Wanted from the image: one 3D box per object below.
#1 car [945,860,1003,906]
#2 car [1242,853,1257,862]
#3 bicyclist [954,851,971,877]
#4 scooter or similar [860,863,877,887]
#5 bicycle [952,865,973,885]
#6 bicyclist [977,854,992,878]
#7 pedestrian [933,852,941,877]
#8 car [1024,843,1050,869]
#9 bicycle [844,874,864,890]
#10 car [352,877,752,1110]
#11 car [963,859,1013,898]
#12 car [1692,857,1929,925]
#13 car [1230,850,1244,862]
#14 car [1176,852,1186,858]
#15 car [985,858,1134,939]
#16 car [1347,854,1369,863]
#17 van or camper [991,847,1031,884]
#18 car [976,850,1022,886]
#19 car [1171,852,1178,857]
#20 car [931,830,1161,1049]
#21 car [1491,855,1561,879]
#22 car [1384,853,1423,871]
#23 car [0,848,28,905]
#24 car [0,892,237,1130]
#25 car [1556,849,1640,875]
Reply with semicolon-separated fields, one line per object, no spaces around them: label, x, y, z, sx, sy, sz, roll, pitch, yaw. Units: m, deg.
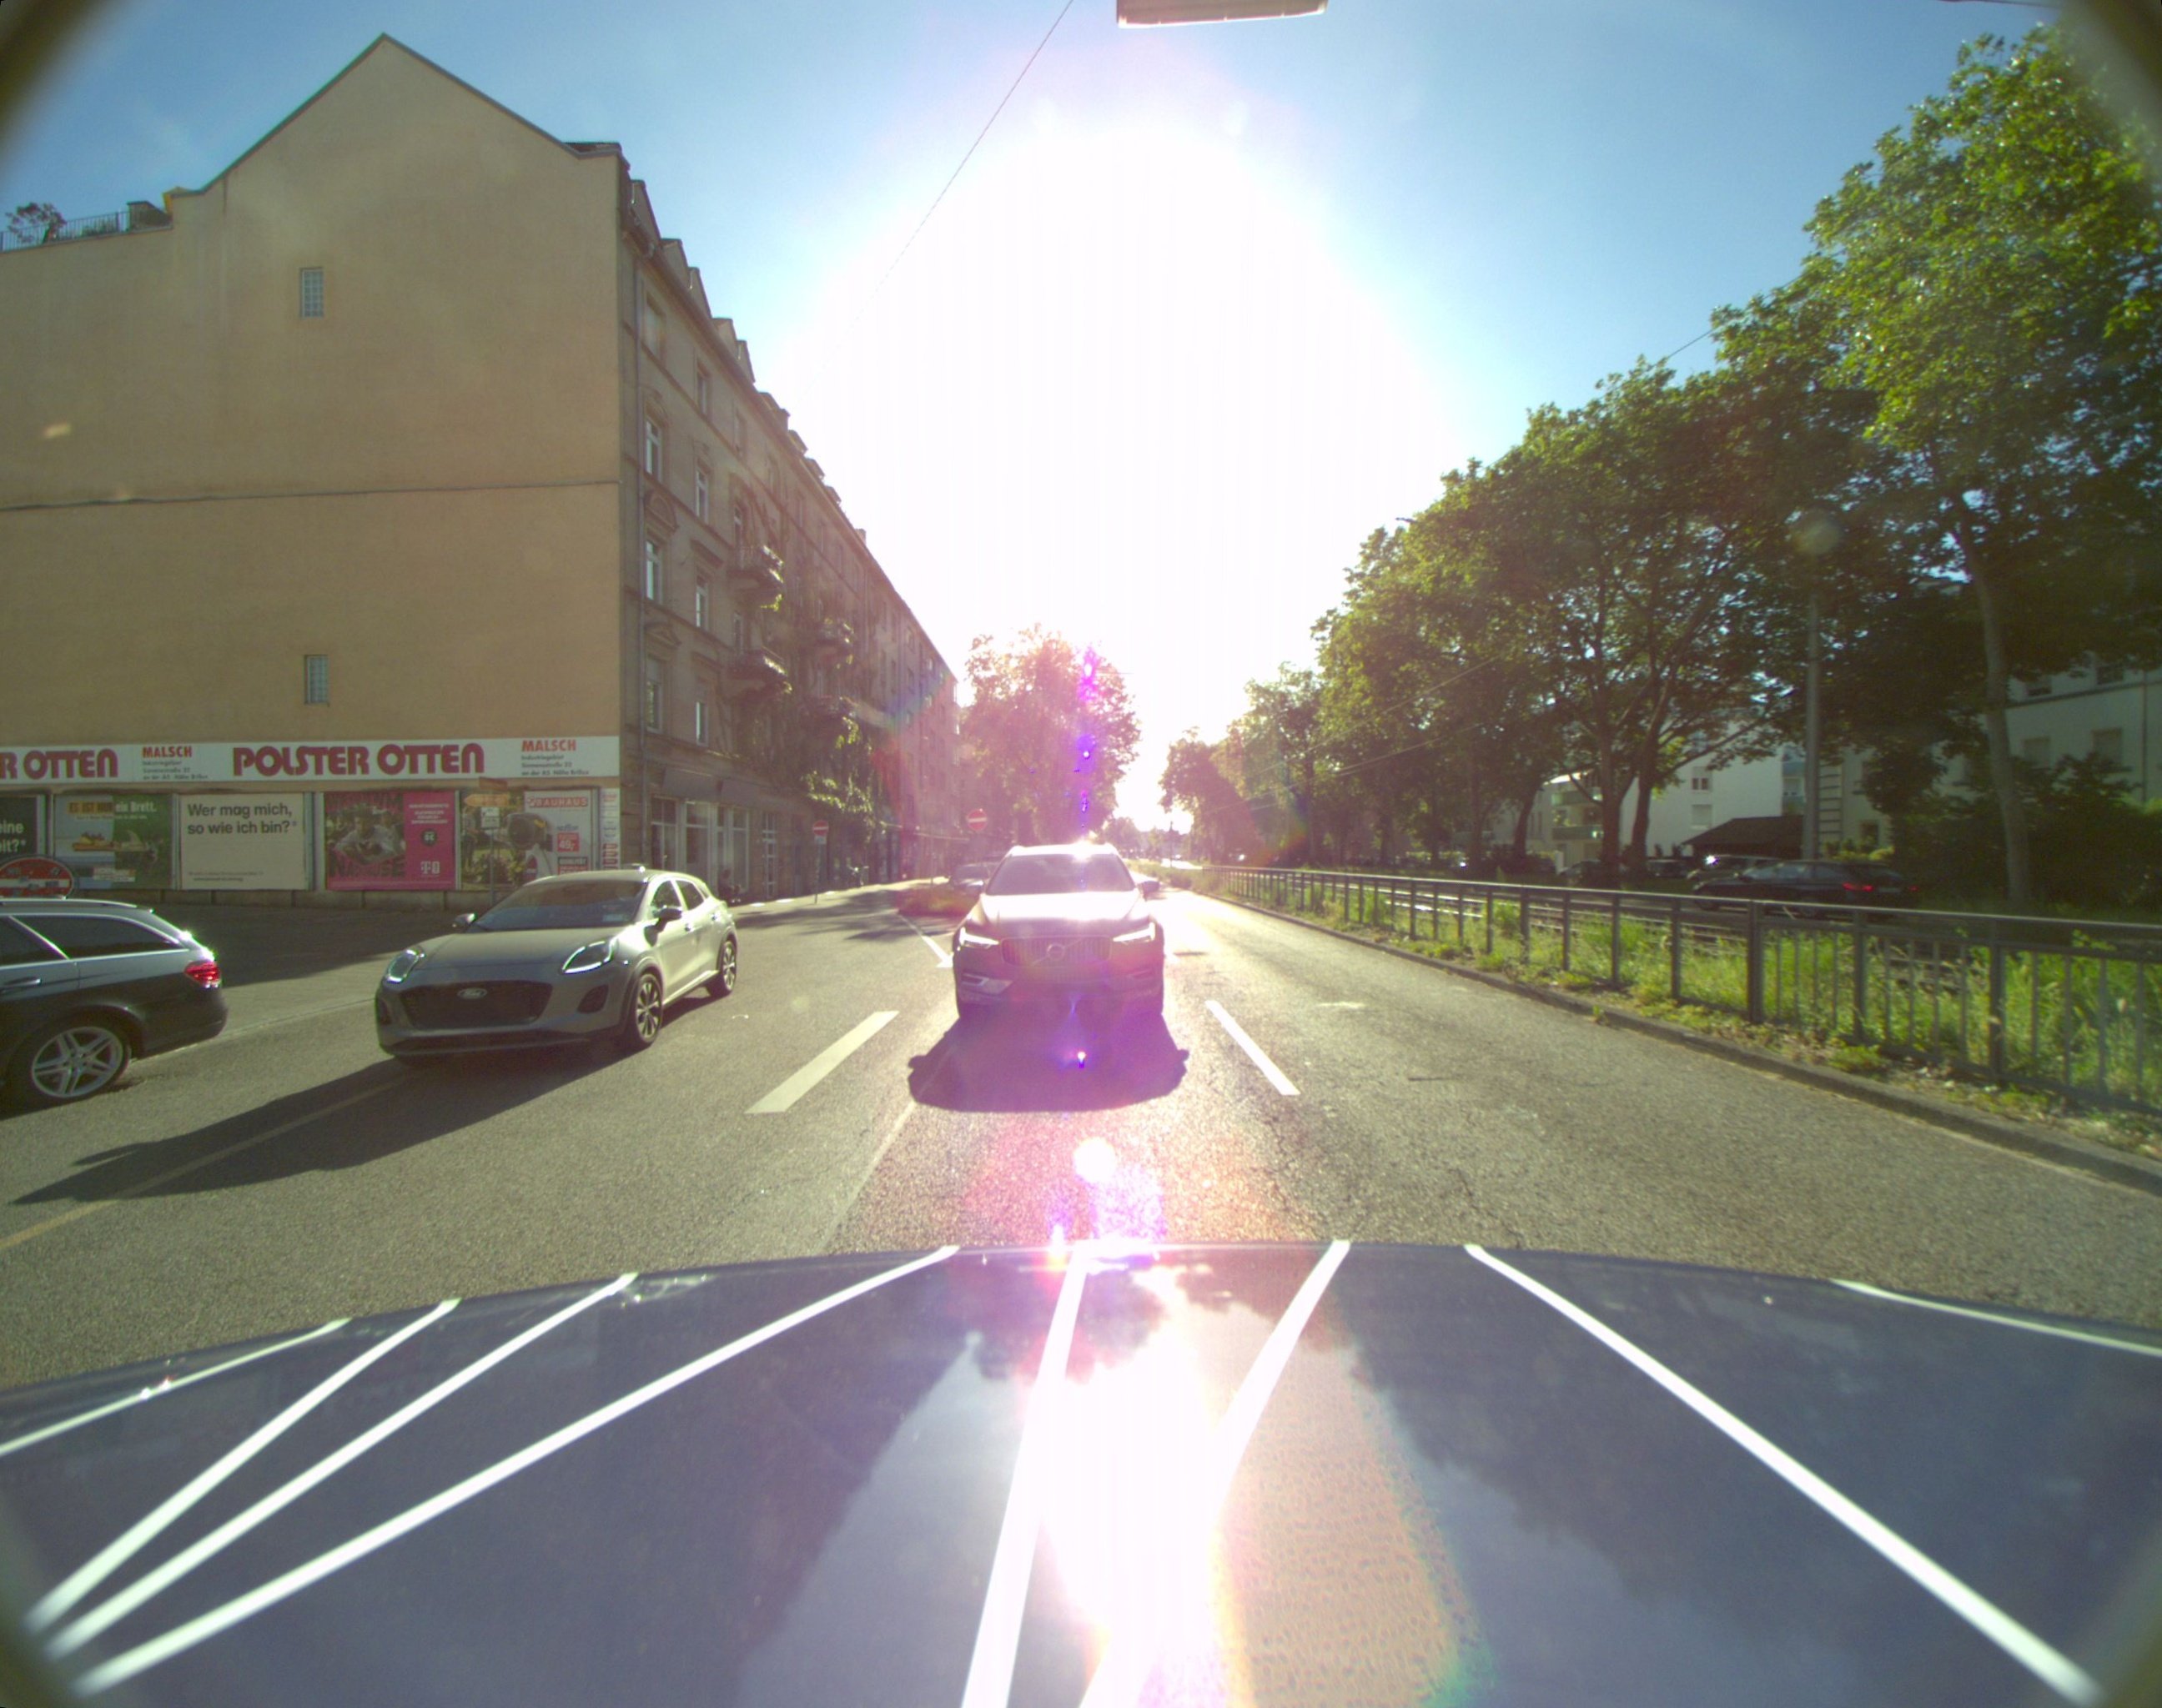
car;-4.010;1.058;29.063;1.645;1.508;3.999;-3;0;-1
car;27.999;0.627;126.263;1.771;1.477;3.688;-1;0;1
bicyclist;-6.705;0.558;43.100;0.746;1.453;0.951;-1;1;2
scooter or similar;-10.829;1.067;38.704;0.638;1.167;1.731;0;0;-24
bicycle;-6.700;1.187;43.027;0.758;1.095;1.954;0;0;2
bicyclist;-5.943;0.753;47.008;0.678;1.437;1.182;3;1;1
pedestrian;-10.269;0.735;54.189;0.470;1.822;0.516;0;1;1
car;-4.437;0.187;77.270;2.079;2.420;5.856;-1;0;1
bicycle;-11.016;1.346;36.938;0.469;0.702;1.513;0;0;1
car;-4.839;1.087;7.830;1.703;1.519;4.376;-1;0;-11
car;-4.032;1.027;33.514;1.743;1.508;3.999;-3;0;-1
car;17.986;0.826;19.070;1.688;1.490;4.342;-1;0;-2
car;27.995;0.347;136.778;1.998;2.002;4.001;-1;0;5
car;26.578;0.300;202.119;1.862;1.638;4.460;-1;0;-1
car;-0.334;0.885;16.482;1.604;1.445;3.788;-2;0;26
car;28.263;0.441;77.606;1.109;0.871;3.060;-1;0;1
van or camper;-4.021;0.618;44.265;1.889;2.002;5.094;0;0;0
car;-4.124;0.661;38.740;1.869;1.753;4.000;0;0;1
car;29.632;0.183;241.595;1.998;1.697;4.001;0;0;3
car;-0.230;0.702;8.554;1.876;1.788;4.633;-1;0;1
car;28.439;0.797;48.732;1.998;1.444;4.319;0;0;1
car;28.659;0.685;67.672;1.801;1.464;4.000;-1;0;1
car;-28.721;0.620;18.238;1.679;1.455;3.645;0;1;3
car;-8.247;1.101;4.182;1.837;1.478;4.734;2;0;1
car;28.488;0.419;42.085;1.644;1.316;4.461;2;0;1
